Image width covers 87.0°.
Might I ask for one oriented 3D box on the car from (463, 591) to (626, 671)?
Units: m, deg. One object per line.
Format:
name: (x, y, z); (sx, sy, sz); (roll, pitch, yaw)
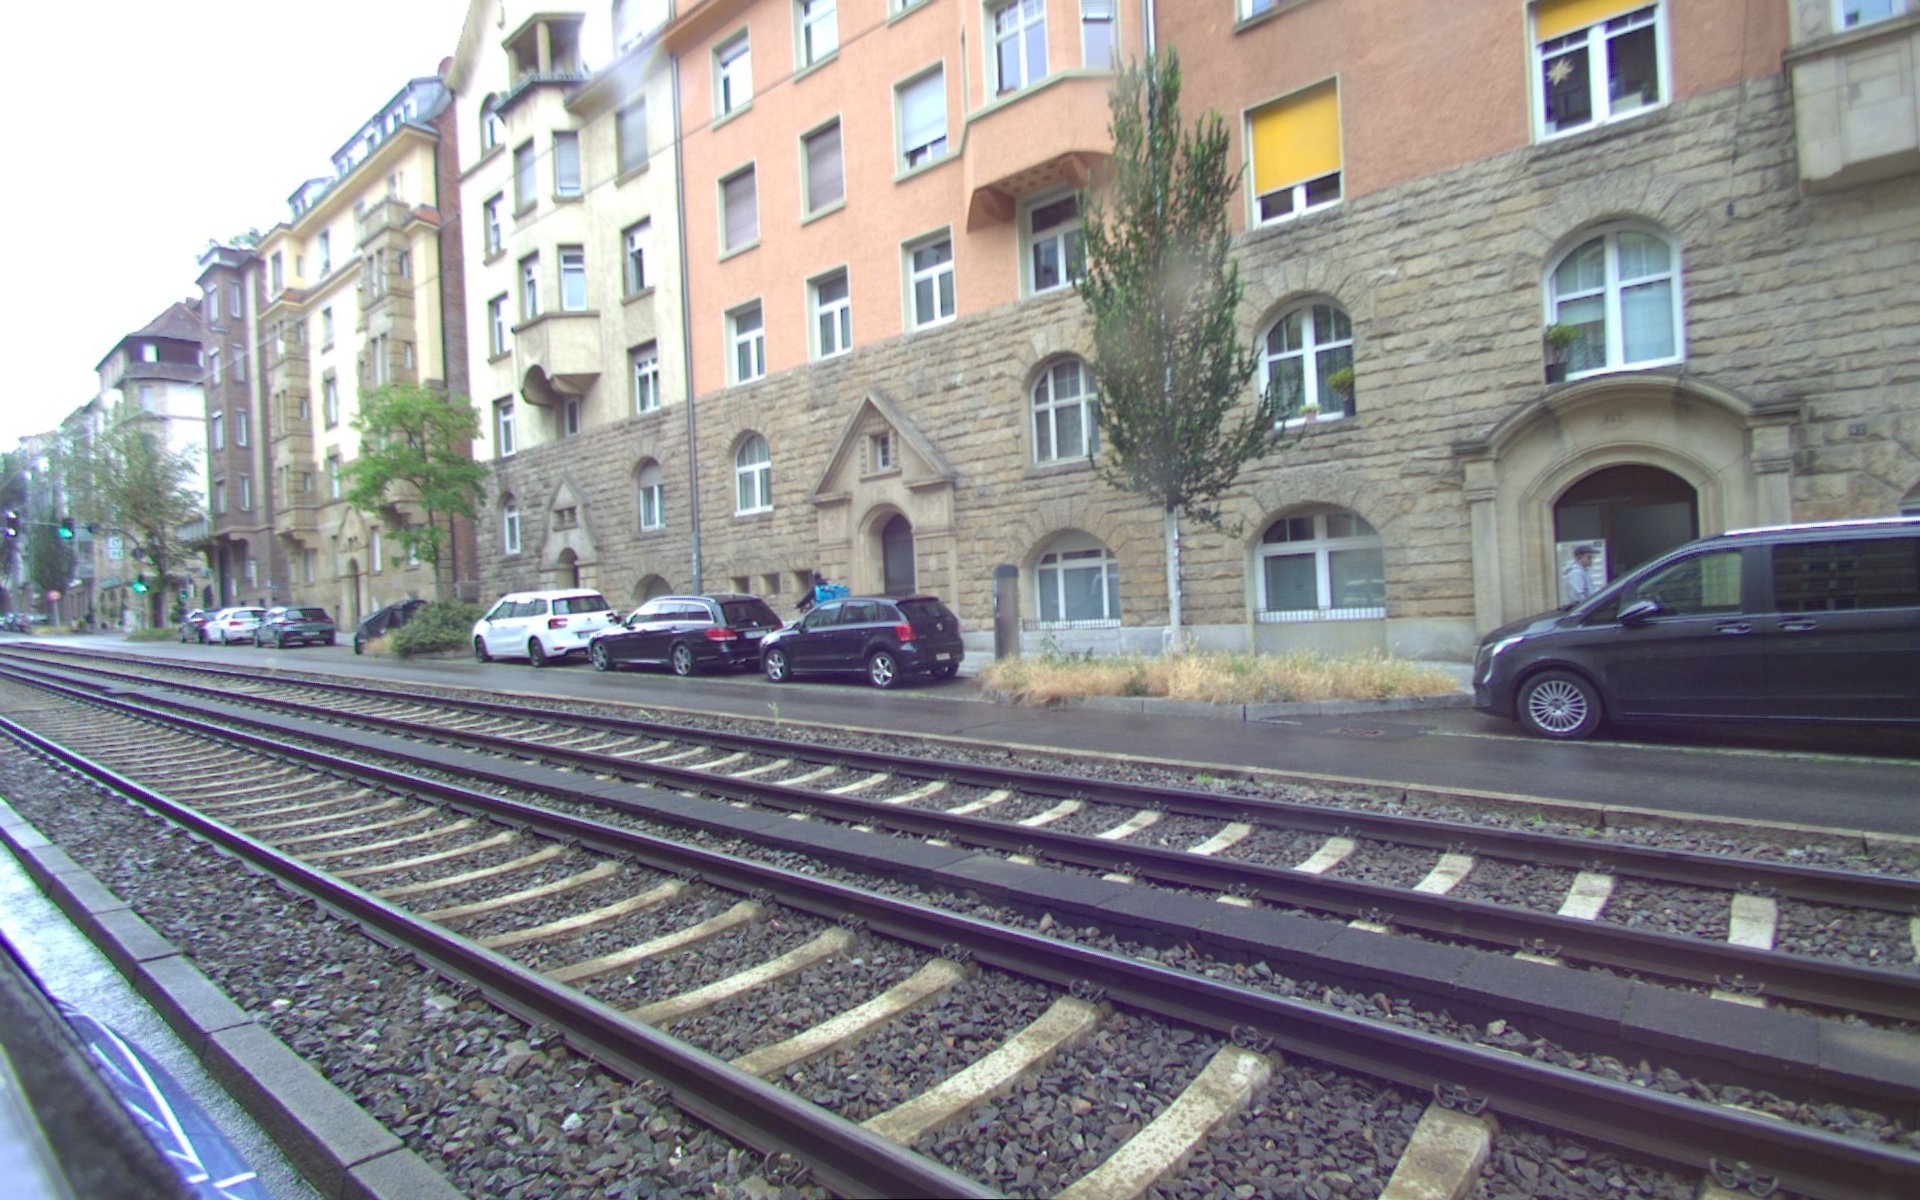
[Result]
car: (-9.752, 0.695, 23.617); (4.144, 1.668, 1.843); (-1, 0, 41)

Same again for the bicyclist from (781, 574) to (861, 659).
bicyclist: (-2.729, 0.321, 19.897); (1.249, 1.609, 0.877); (-2, 1, 33)

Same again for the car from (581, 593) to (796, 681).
car: (-5.444, 0.690, 19.944); (4.599, 1.506, 1.824); (-1, 0, 41)

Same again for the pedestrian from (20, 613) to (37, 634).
pedestrian: (-87.571, 2.222, 95.169); (1.163, 1.972, 1.042); (-1, 0, 43)

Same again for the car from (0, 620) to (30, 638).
car: (-74.297, 2.275, 79.345); (3.843, 1.321, 1.563); (-1, 0, 41)

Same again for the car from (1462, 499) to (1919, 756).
car: (7.339, 0.209, 8.988); (4.823, 1.956, 1.973); (-1, 0, 41)

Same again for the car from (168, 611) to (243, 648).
car: (-32.151, 1.259, 43.092); (3.843, 1.452, 1.748); (-1, 0, 41)

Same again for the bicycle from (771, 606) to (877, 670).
bicycle: (-2.689, 0.737, 19.955); (2.032, 1.195, 0.817); (-1, 0, 35)

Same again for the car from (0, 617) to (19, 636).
car: (-80.924, 2.283, 85.418); (3.843, 1.527, 1.748); (-1, 0, 41)

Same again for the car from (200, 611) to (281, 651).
car: (-28.292, 1.205, 39.769); (4.030, 1.452, 1.748); (-1, 1, 42)

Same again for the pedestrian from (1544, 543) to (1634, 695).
pedestrian: (7.289, 0.202, 11.722); (0.765, 1.654, 0.692); (-1, 4, 41)

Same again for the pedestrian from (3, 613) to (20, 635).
pedestrian: (-88.352, 2.231, 94.250); (1.163, 1.972, 1.042); (-1, 0, 43)

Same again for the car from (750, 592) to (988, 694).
car: (-1.563, 0.662, 16.923); (3.638, 1.508, 1.912); (-1, 0, 38)

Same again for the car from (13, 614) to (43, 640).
car: (-69.048, 1.986, 74.980); (1.561, 1.691, 3.794); (-2, 2, -43)

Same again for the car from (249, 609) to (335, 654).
car: (-23.690, 1.089, 35.866); (3.845, 1.452, 1.656); (-1, 1, 43)
